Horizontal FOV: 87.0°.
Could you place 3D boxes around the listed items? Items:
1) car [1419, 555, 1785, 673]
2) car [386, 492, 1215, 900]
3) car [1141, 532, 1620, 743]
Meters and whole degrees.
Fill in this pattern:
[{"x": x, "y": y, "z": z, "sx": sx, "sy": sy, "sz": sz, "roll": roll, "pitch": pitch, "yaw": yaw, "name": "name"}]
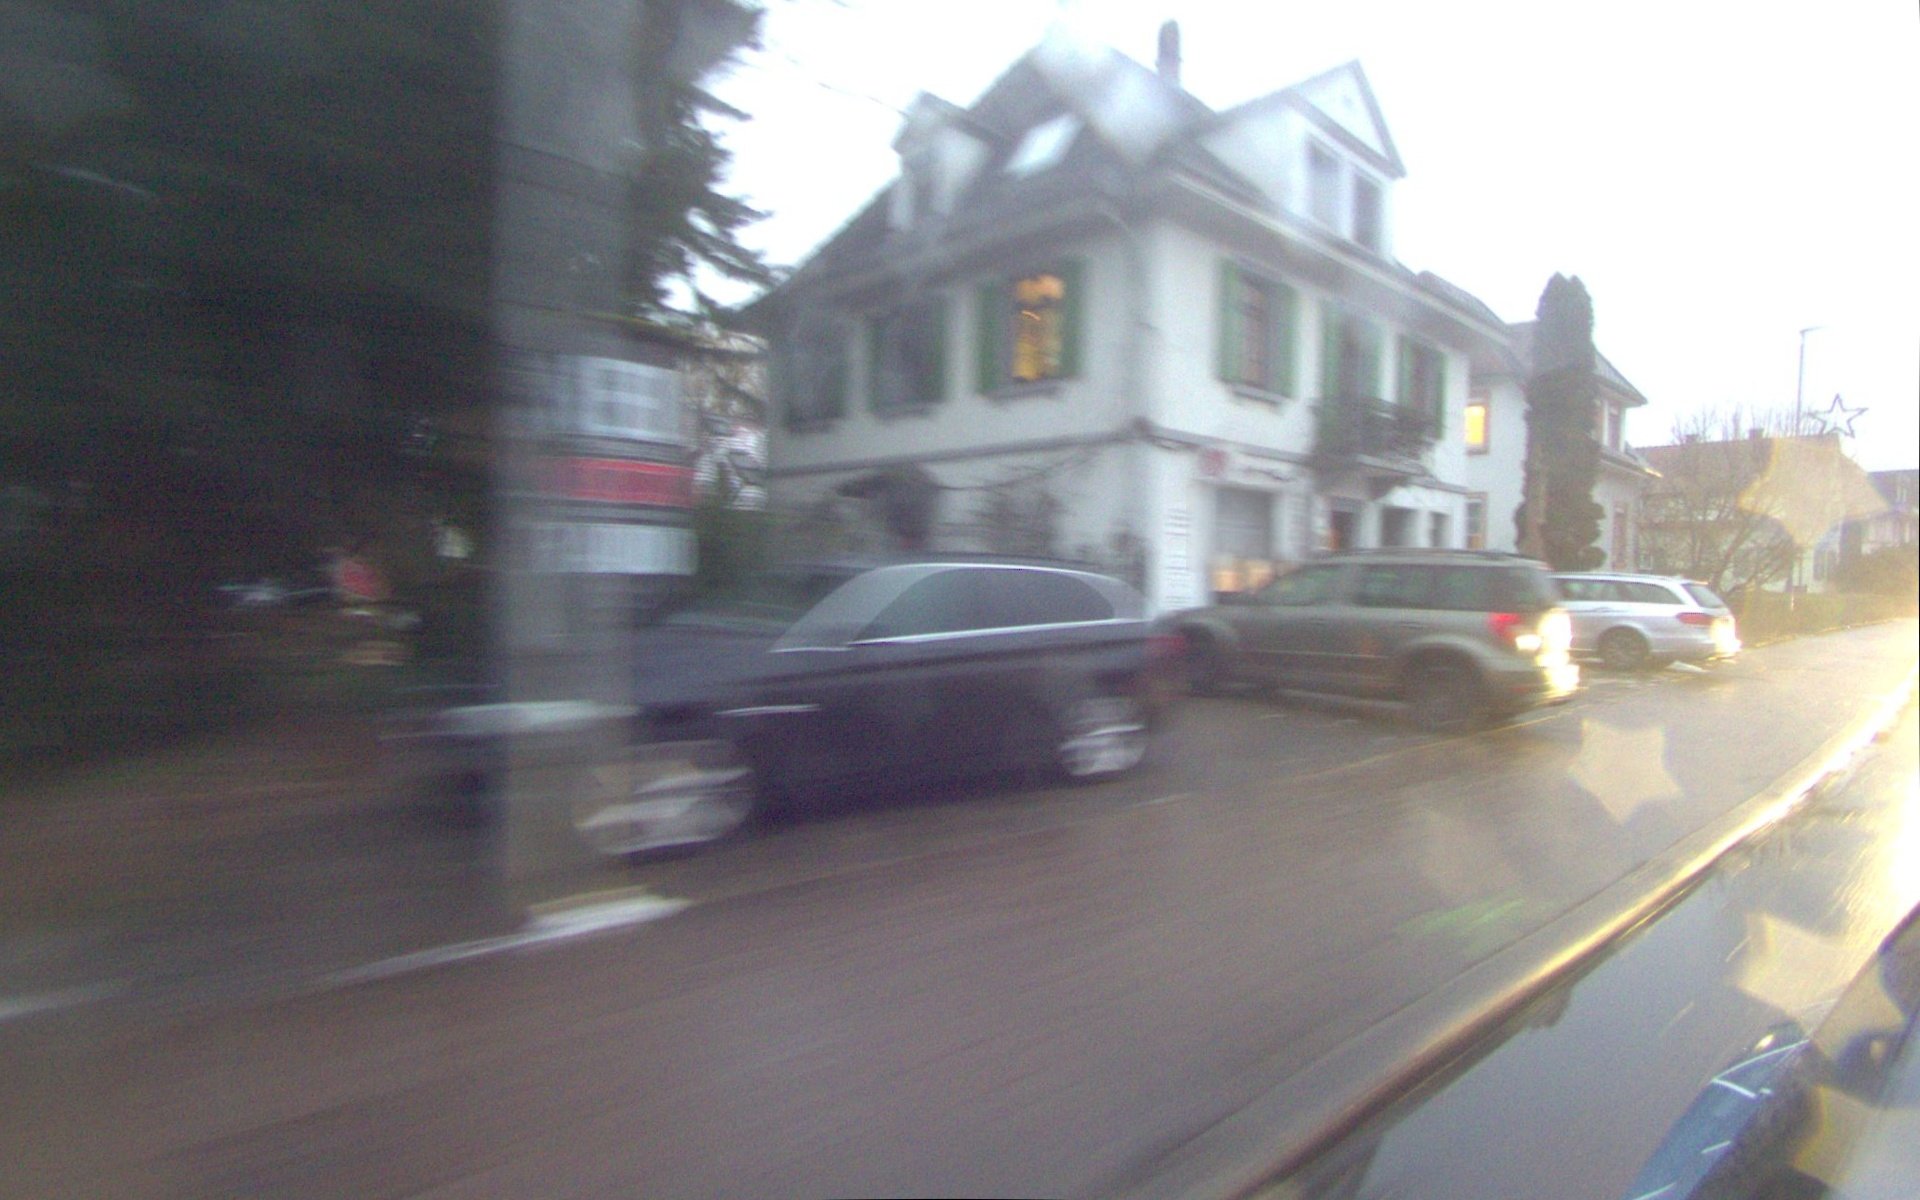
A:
[{"x": 10.377, "y": 0.113, "z": 16.723, "sx": 1.872, "sy": 1.649, "sz": 4.746, "roll": 0, "pitch": 2, "yaw": -38, "name": "car"}, {"x": -0.657, "y": 0.329, "z": 6.131, "sx": 4.671, "sy": 1.574, "sz": 1.897, "roll": -1, "pitch": 2, "yaw": -40, "name": "car"}, {"x": 4.139, "y": 0.182, "z": 10.463, "sx": 1.966, "sy": 1.726, "sz": 4.109, "roll": -2, "pitch": 4, "yaw": -42, "name": "car"}]
